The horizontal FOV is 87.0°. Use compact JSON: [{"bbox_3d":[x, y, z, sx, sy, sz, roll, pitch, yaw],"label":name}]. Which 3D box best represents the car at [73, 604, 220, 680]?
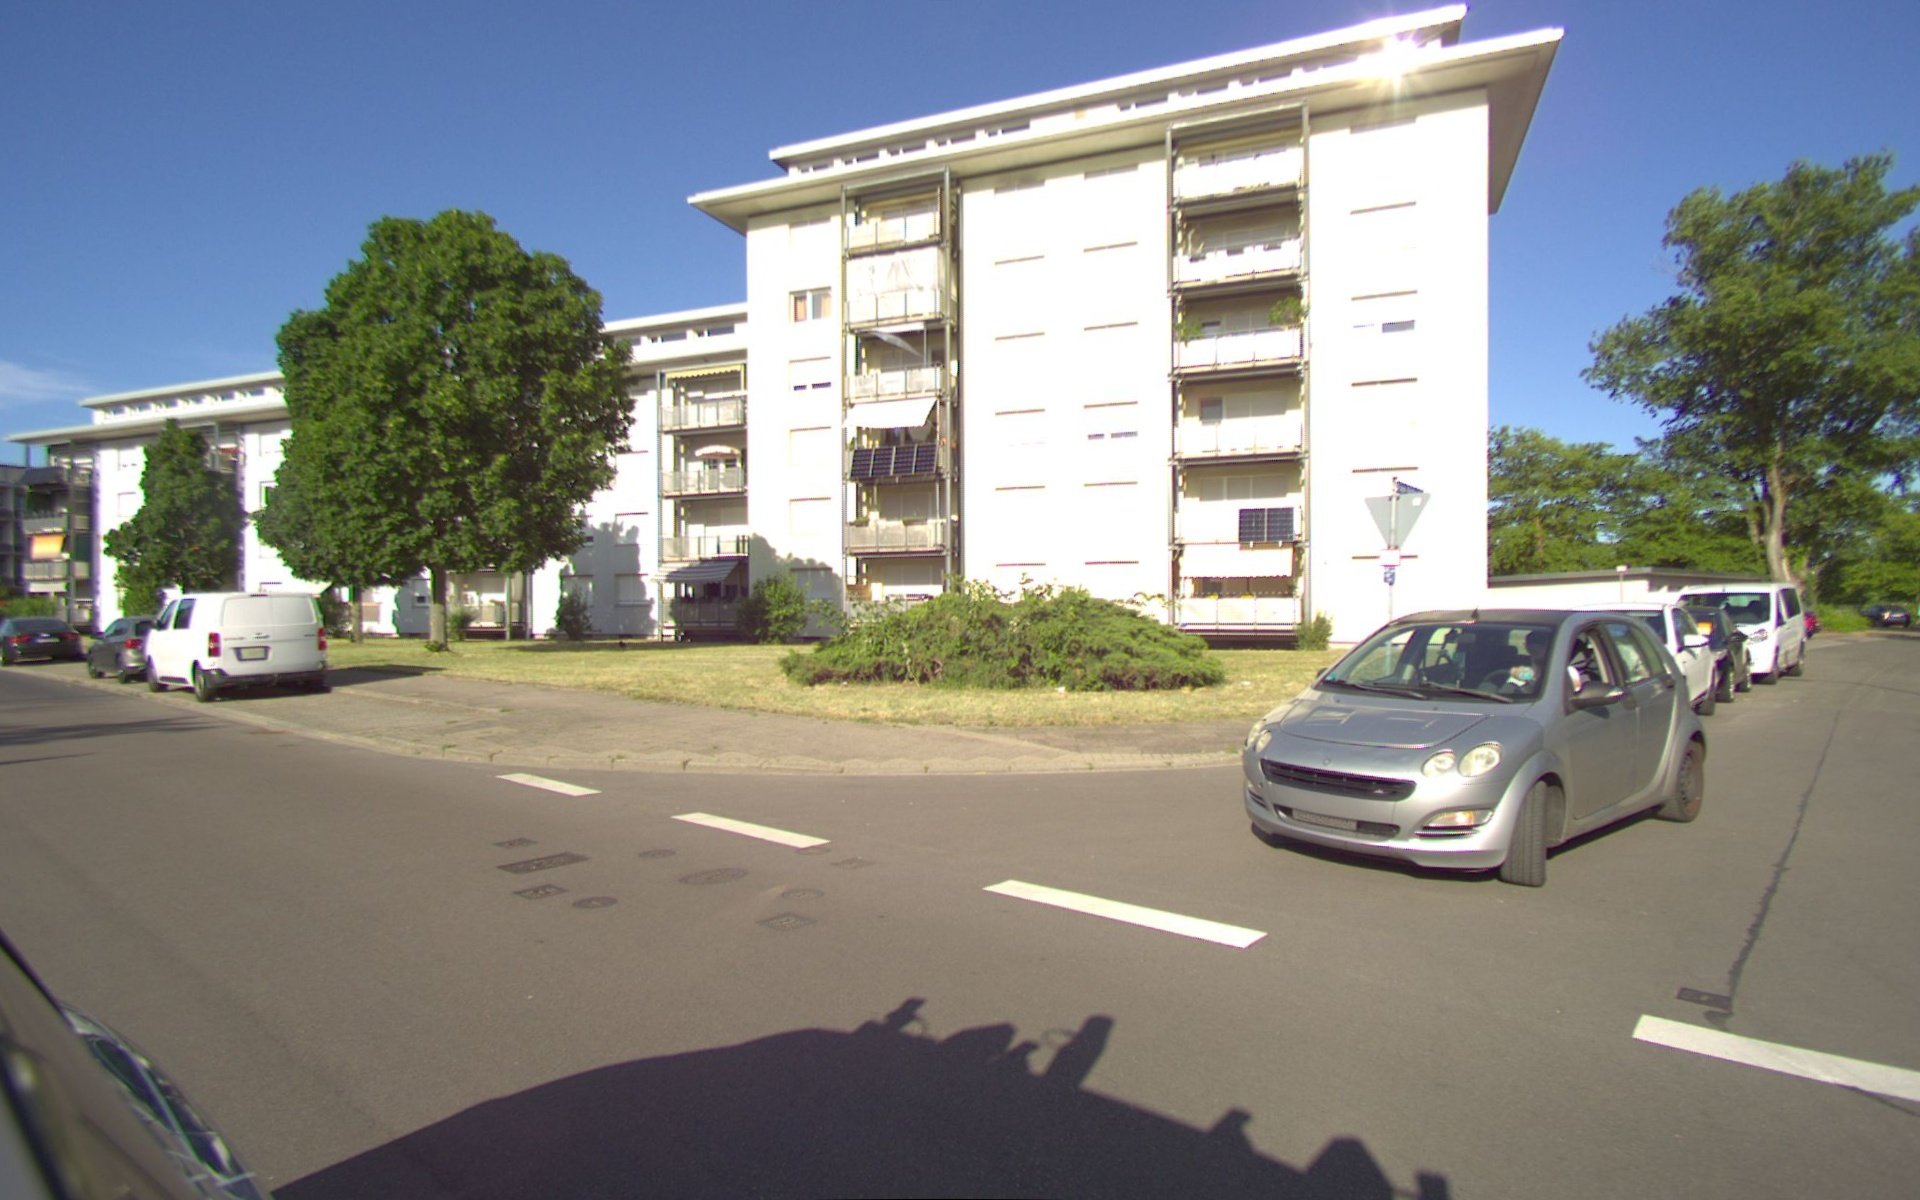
[{"bbox_3d":[-18.753,0.897,23.269,4.218,1.529,1.815,0,1,40],"label":"car"}]

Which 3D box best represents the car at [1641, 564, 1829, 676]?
[{"bbox_3d":[15.640,0.363,20.313,5.045,1.966,2.239,0,-1,-44],"label":"car"}]

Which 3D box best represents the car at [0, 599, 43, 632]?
[{"bbox_3d":[-73.275,1.147,76.197,2.206,2.447,5.858,-2,-2,33],"label":"car"}]

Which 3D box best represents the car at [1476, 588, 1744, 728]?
[{"bbox_3d":[8.310,0.639,12.806,3.941,1.475,2.044,1,-1,-45],"label":"car"}]

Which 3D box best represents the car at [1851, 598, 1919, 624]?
[{"bbox_3d":[58.879,0.671,64.134,1.982,1.592,4.151,0,-1,15],"label":"car"}]

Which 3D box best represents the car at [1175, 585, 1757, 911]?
[{"bbox_3d":[3.430,0.697,6.599,3.879,1.472,2.001,1,-1,-40],"label":"car"}]

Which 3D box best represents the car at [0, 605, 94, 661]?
[{"bbox_3d":[-28.745,0.969,31.285,5.250,1.504,2.015,-1,2,39],"label":"car"}]

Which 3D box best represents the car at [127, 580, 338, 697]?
[{"bbox_3d":[-13.800,0.627,19.076,5.186,1.900,1.994,0,1,40],"label":"car"}]

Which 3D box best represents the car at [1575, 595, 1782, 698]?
[{"bbox_3d":[11.981,0.694,16.760,4.391,1.472,2.044,1,-1,-44],"label":"car"}]

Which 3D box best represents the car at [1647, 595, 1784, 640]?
[{"bbox_3d":[28.706,0.673,38.526,3.999,1.608,1.972,-1,-1,42],"label":"car"}]
